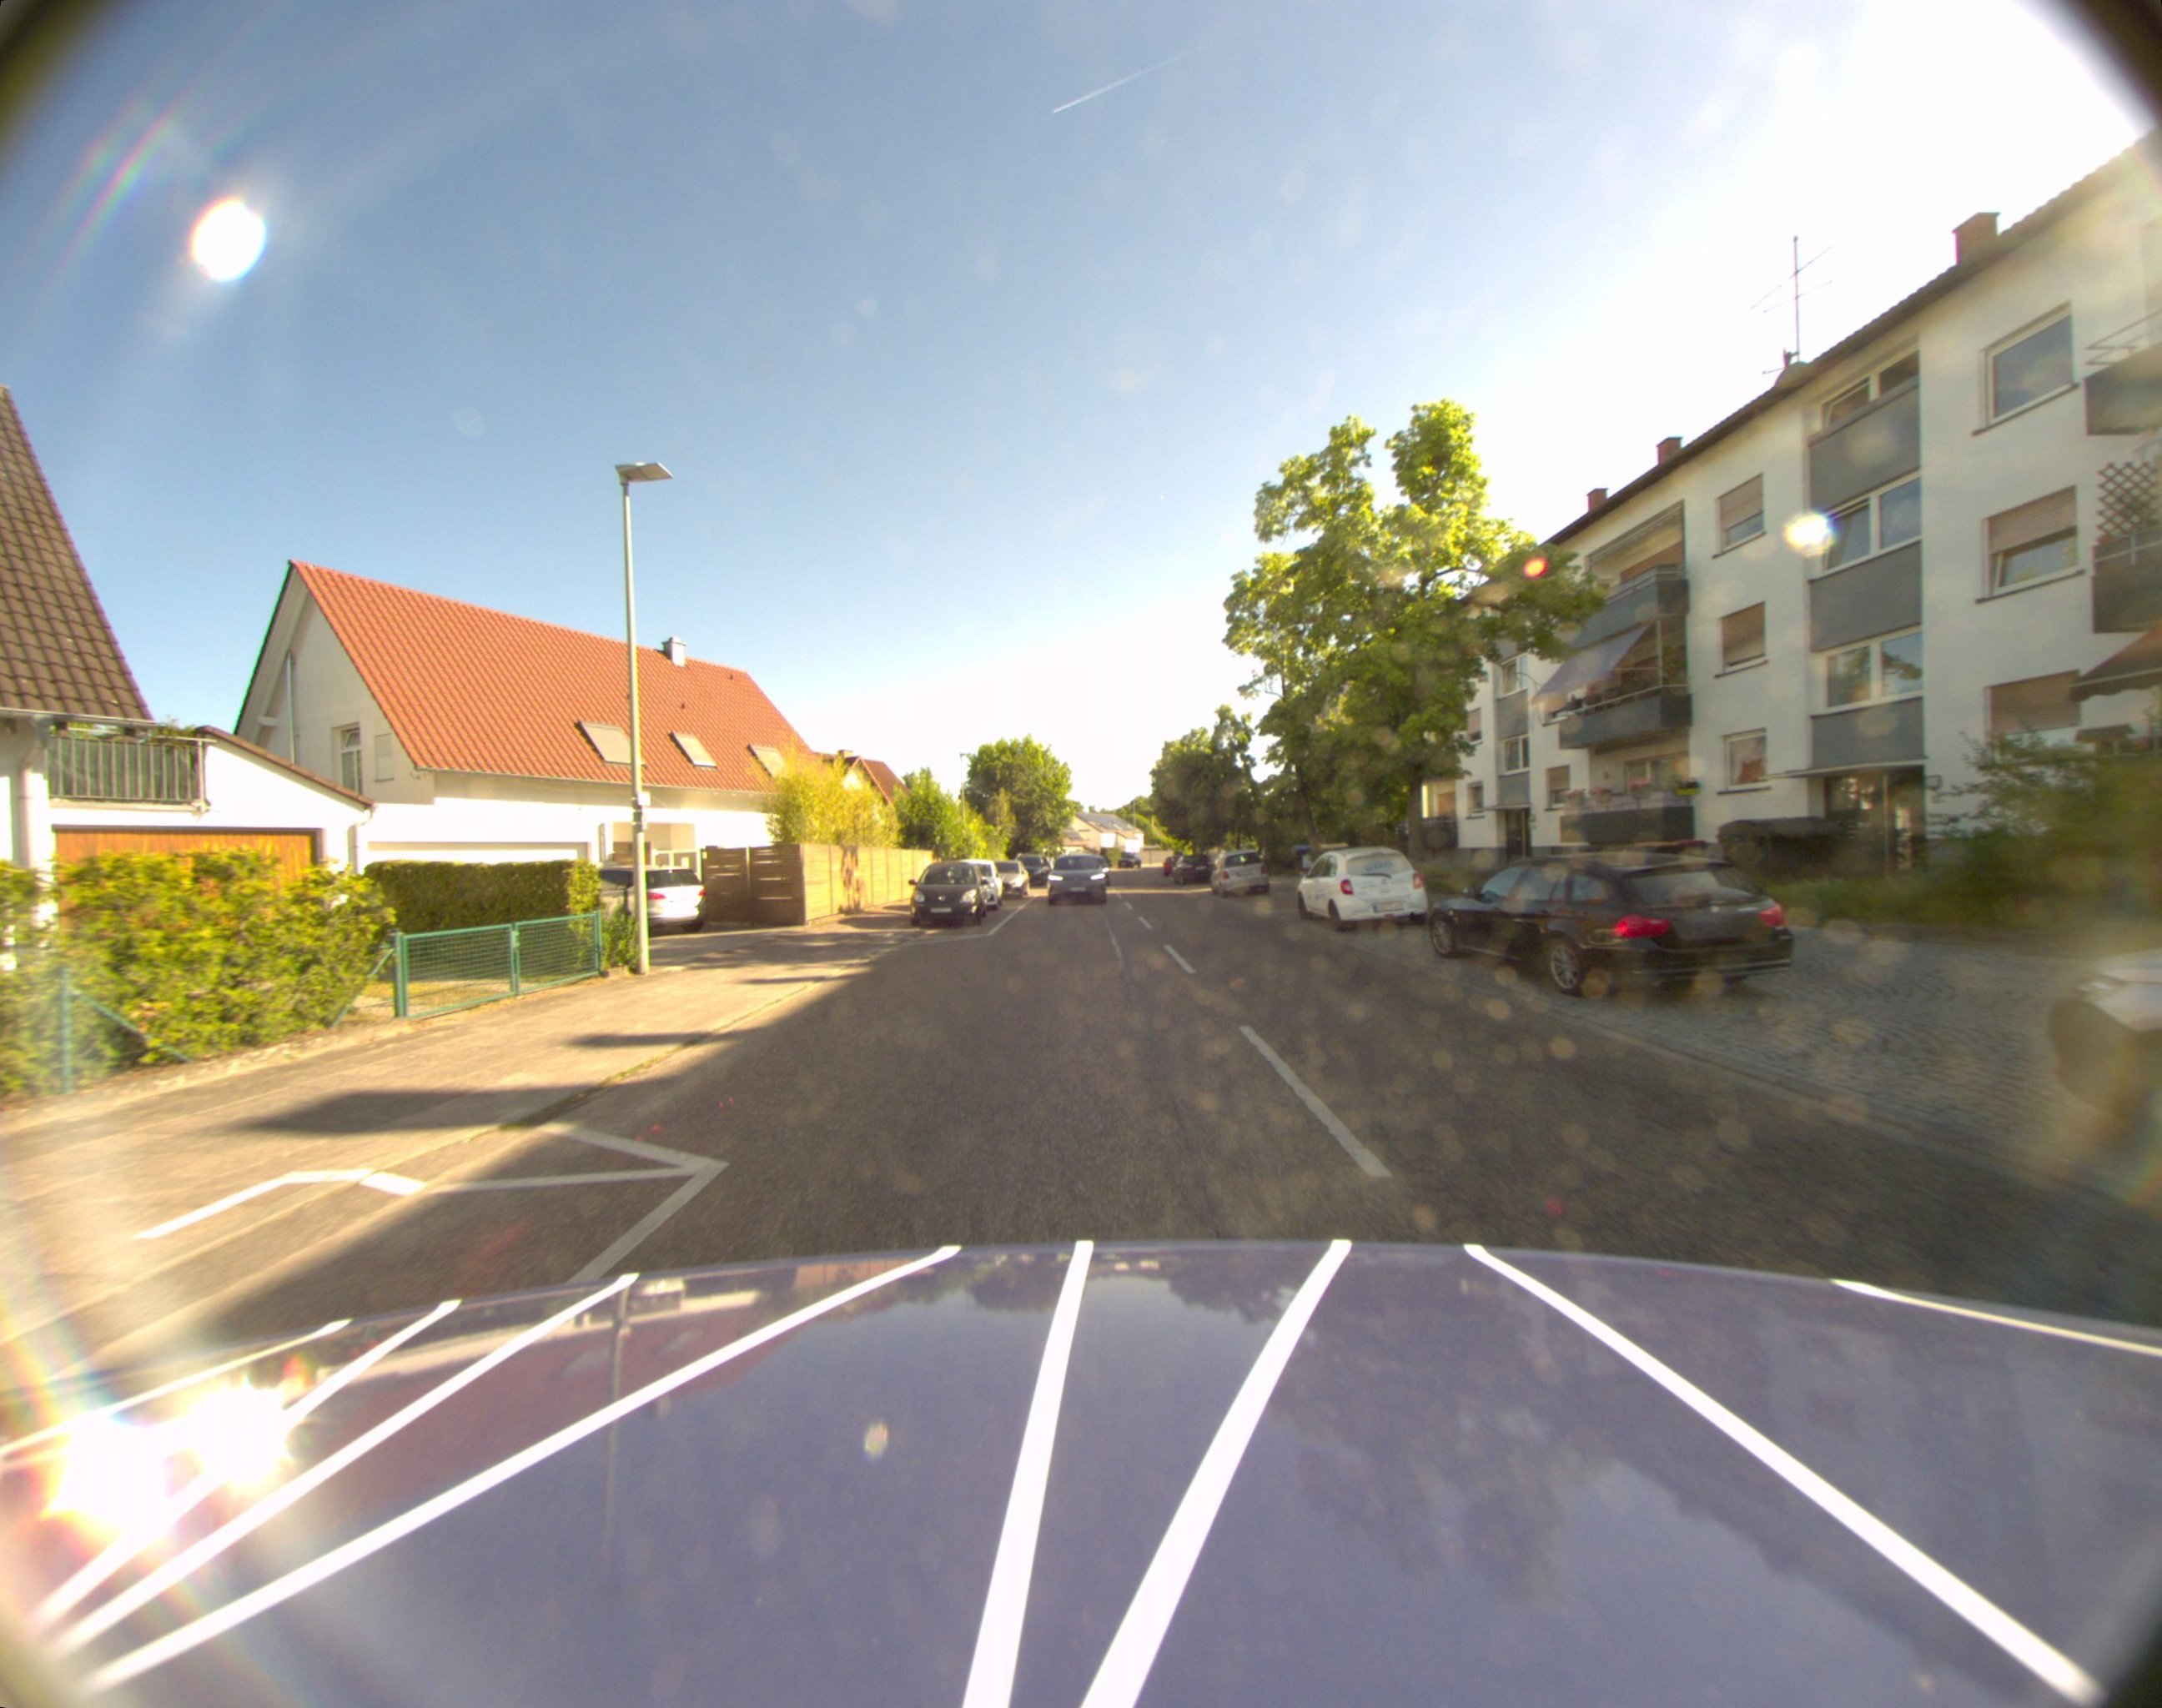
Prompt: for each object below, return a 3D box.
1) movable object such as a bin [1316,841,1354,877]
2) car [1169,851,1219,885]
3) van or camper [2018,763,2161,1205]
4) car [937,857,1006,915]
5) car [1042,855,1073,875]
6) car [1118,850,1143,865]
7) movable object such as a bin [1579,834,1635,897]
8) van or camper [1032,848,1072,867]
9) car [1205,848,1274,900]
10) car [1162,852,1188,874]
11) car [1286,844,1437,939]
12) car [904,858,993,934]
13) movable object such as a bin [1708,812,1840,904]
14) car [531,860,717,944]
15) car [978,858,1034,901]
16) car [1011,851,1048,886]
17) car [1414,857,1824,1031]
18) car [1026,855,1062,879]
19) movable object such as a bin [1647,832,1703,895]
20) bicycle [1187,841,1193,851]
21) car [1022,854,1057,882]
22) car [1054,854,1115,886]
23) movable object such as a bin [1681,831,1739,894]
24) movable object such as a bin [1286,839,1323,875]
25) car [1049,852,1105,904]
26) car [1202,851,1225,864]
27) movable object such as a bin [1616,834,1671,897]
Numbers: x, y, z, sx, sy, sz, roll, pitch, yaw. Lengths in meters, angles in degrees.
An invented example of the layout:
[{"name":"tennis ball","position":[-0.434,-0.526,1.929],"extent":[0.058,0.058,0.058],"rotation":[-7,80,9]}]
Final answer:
[{"name":"movable object such as a bin","position":[11.417,0.209,34.207],"extent":[1.293,1.534,1.327],"rotation":[-2,0,2]},{"name":"car","position":[5.844,0.707,39.795],"extent":[1.726,1.485,4.543],"rotation":[-7,0,-1]},{"name":"van or camper","position":[5.748,0.527,1.723],"extent":[1.882,2.002,4.279],"rotation":[-5,0,1]},{"name":"car","position":[-3.354,0.940,23.877],"extent":[1.729,1.591,3.815],"rotation":[-2,0,-3]},{"name":"car","position":[-1.909,0.883,63.518],"extent":[1.656,1.554,4.468],"rotation":[-1,0,10]},{"name":"car","position":[5.784,0.379,88.648],"extent":[1.774,1.727,3.710],"rotation":[1,1,22]},{"name":"movable object such as a bin","position":[11.082,0.241,16.026],"extent":[0.688,1.271,0.672],"rotation":[-2,1,3]},{"name":"van or camper","position":[-3.161,0.366,82.801],"extent":[3.843,2.002,1.954],"rotation":[-1,0,28]},{"name":"car","position":[5.724,0.662,27.916],"extent":[1.726,1.583,3.909],"rotation":[-7,0,3]},{"name":"car","position":[7.209,0.648,57.882],"extent":[1.660,1.485,3.911],"rotation":[-5,0,9]},{"name":"car","position":[5.505,0.664,15.442],"extent":[1.697,1.557,3.907],"rotation":[-5,0,3]},{"name":"car","position":[-3.161,0.952,18.825],"extent":[1.661,1.591,3.815],"rotation":[-2,0,-3]},{"name":"movable object such as a bin","position":[11.895,0.066,13.092],"extent":[1.234,1.474,1.116],"rotation":[-2,0,3]},{"name":"car","position":[-10.350,1.041,17.179],"extent":[3.990,1.675,1.714],"rotation":[-2,0,27]},{"name":"car","position":[-2.841,0.933,29.539],"extent":[1.646,1.485,3.889],"rotation":[-1,0,2]},{"name":"car","position":[-2.802,0.771,42.298],"extent":[1.747,1.802,4.429],"rotation":[-1,0,0]},{"name":"car","position":[5.710,0.803,8.873],"extent":[1.613,1.427,4.313],"rotation":[-4,0,-1]},{"name":"car","position":[-2.612,0.893,54.491],"extent":[1.766,1.554,4.664],"rotation":[-1,0,7]},{"name":"movable object such as a bin","position":[12.415,0.198,15.899],"extent":[0.640,1.271,0.672],"rotation":[-2,1,3]},{"name":"bicycle","position":[11.415,-0.836,79.811],"extent":[0.357,1.001,1.201],"rotation":[-3,-1,18]},{"name":"car","position":[-2.601,0.869,48.627],"extent":[1.767,1.666,4.395],"rotation":[-1,0,3]},{"name":"car","position":[0.121,0.846,40.764],"extent":[1.584,1.568,3.695],"rotation":[-1,0,-30]},{"name":"movable object such as a bin","position":[13.089,0.167,15.830],"extent":[0.640,1.271,0.672],"rotation":[-2,1,3]},{"name":"movable object such as a bin","position":[10.782,0.152,36.760],"extent":[1.416,1.653,1.267],"rotation":[-2,0,2]},{"name":"car","position":[-0.142,0.794,26.338],"extent":[1.777,1.624,3.703],"rotation":[-1,0,-1]},{"name":"car","position":[15.921,0.372,91.008],"extent":[1.649,1.530,3.710],"rotation":[-1,0,26]},{"name":"movable object such as a bin","position":[11.758,0.243,15.910],"extent":[0.640,1.271,0.672],"rotation":[-2,1,3]}]
